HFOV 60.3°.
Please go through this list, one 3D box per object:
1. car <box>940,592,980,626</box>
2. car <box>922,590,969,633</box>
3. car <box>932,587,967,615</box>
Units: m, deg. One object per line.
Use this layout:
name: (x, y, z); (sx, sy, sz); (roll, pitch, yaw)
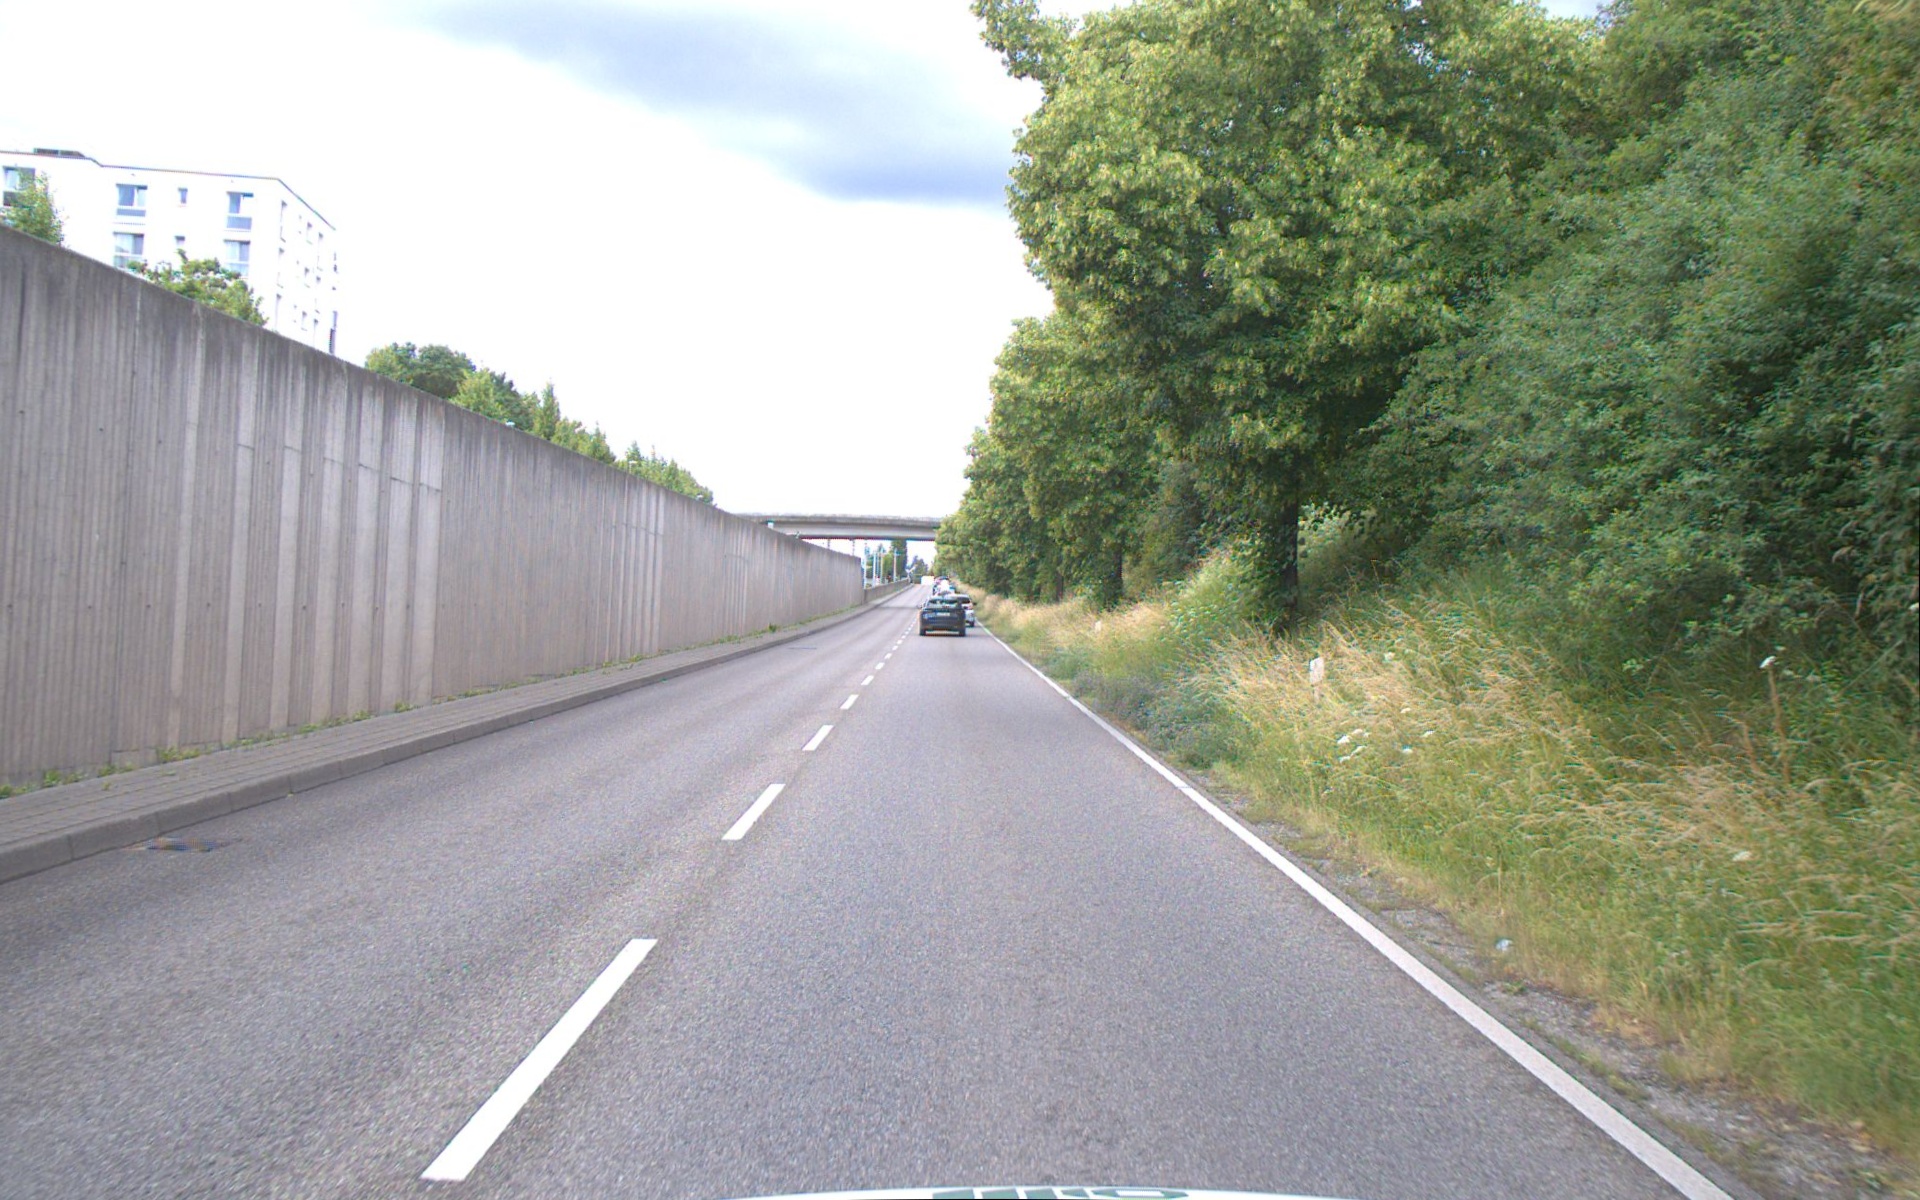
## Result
car: (-0.030, 0.434, 77.933); (1.719, 1.550, 4.035); (-1, 0, -2)
car: (-0.573, 0.422, 62.625); (1.719, 1.550, 4.036); (-1, 0, -1)
car: (-0.651, 0.069, 98.431); (1.829, 1.516, 4.255); (4, 0, -2)
